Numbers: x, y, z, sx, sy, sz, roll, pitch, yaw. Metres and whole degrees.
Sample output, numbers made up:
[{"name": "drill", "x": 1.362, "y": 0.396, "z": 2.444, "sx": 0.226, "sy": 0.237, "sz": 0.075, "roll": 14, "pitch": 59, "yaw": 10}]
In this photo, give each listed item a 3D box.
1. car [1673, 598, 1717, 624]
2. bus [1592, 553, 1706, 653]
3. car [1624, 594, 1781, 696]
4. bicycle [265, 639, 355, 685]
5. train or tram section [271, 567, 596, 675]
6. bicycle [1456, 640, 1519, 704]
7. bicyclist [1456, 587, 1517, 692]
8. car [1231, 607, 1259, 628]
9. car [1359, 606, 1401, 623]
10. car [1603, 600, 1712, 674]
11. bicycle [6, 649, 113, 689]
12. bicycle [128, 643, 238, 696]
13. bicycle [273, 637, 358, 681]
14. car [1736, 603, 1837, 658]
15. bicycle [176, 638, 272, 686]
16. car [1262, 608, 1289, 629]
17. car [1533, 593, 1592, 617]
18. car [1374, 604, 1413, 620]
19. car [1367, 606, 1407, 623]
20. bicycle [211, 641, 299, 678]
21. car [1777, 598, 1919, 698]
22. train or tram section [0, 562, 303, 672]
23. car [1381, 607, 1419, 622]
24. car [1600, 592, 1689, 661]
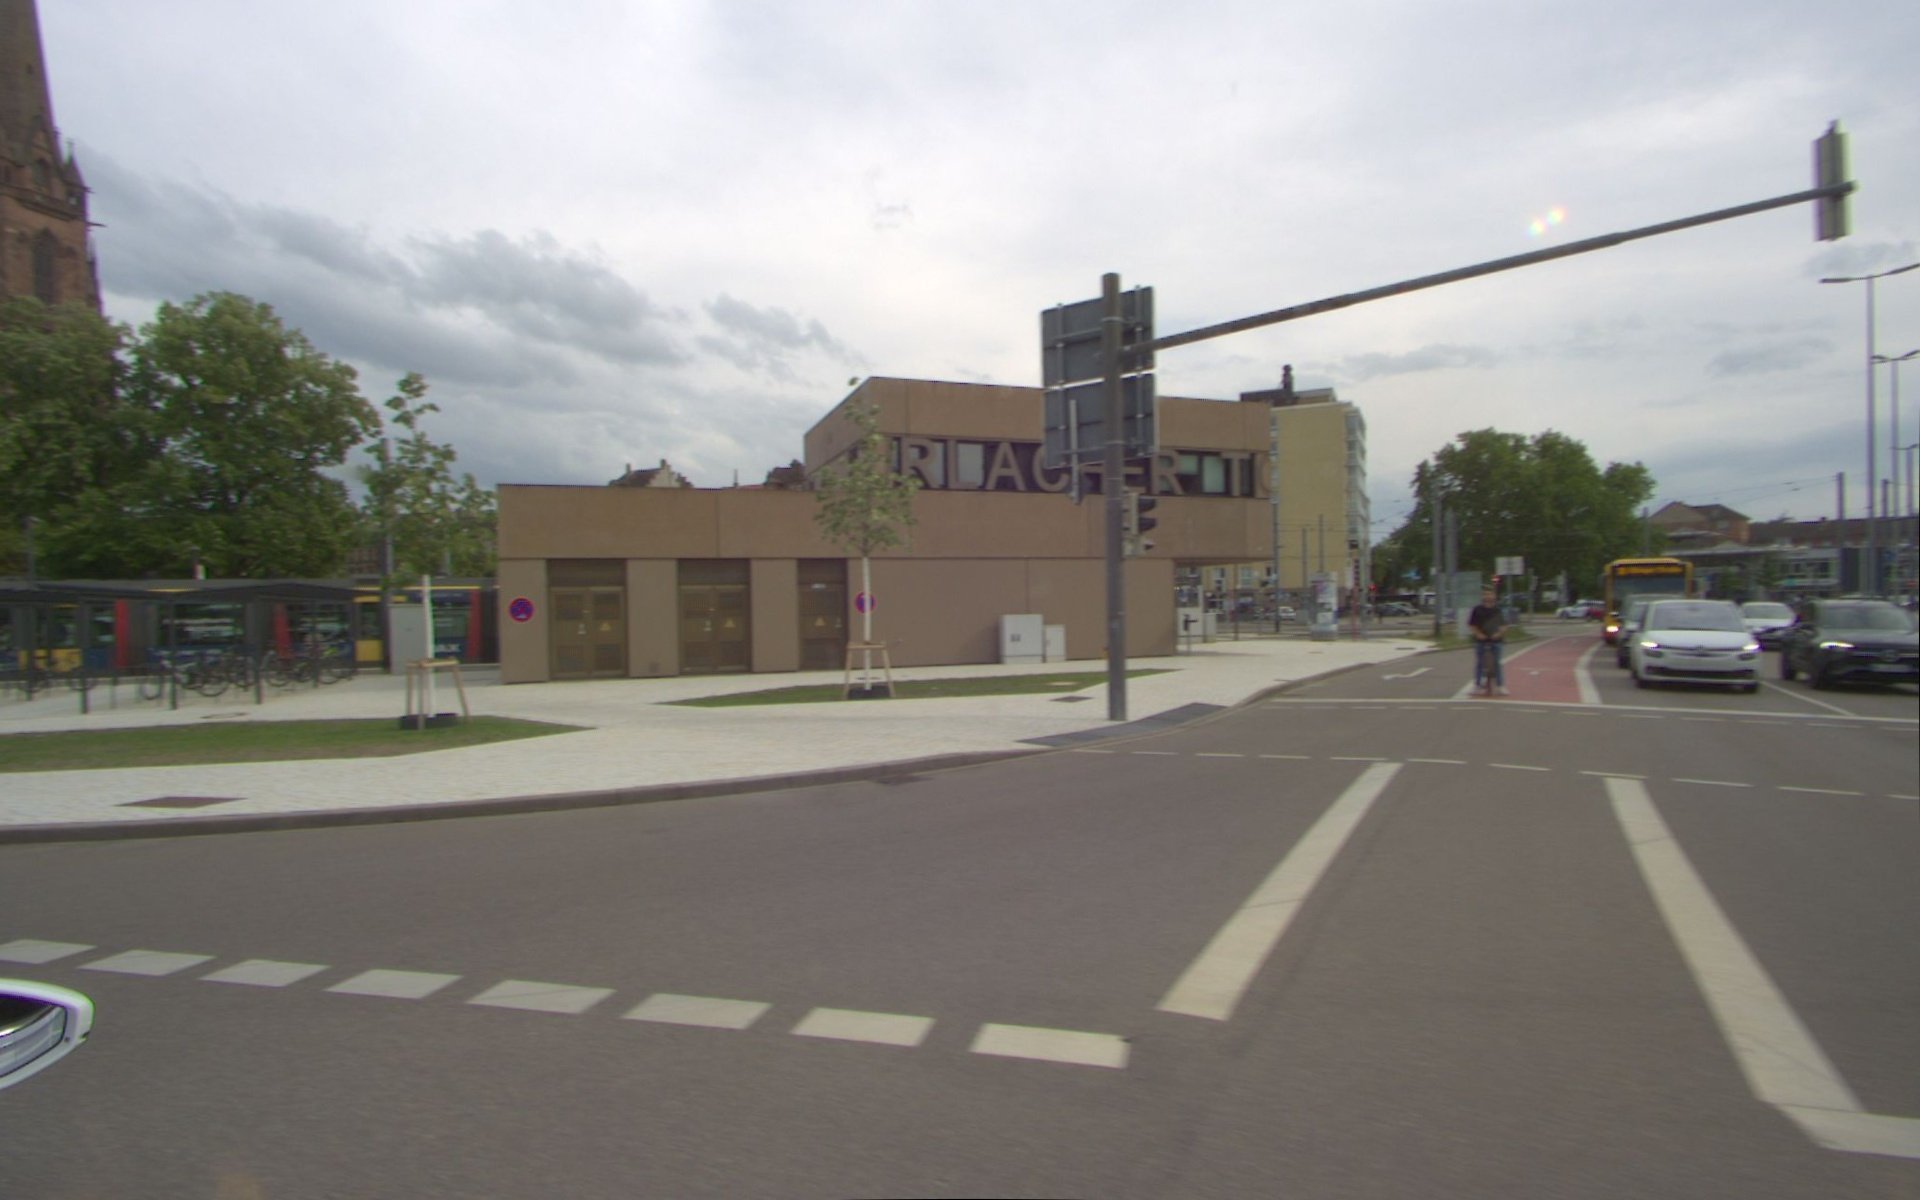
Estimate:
[{"name": "car", "x": 50.236, "y": 0.757, "z": 68.527, "sx": 1.971, "sy": 1.673, "sz": 4.490, "roll": 1, "pitch": 0, "yaw": 31}, {"name": "bus", "x": 26.718, "y": 0.159, "z": 39.284, "sx": 3.113, "sy": 3.298, "sz": 12.347, "roll": 1, "pitch": 0, "yaw": 33}, {"name": "car", "x": 13.897, "y": 0.781, "z": 18.989, "sx": 1.971, "sy": 1.673, "sz": 4.269, "roll": 1, "pitch": 0, "yaw": 31}, {"name": "bicycle", "x": -17.208, "y": 1.632, "z": 26.566, "sx": 1.938, "sy": 1.171, "sz": 0.581, "roll": 1, "pitch": 1, "yaw": -29}, {"name": "train or tram section", "x": -18.081, "y": 0.774, "z": 35.342, "sx": 9.763, "sy": 3.496, "sz": 3.054, "roll": 1, "pitch": 0, "yaw": -21}, {"name": "bicycle", "x": 8.820, "y": 1.168, "z": 16.817, "sx": 0.851, "sy": 0.888, "sz": 2.510, "roll": 1, "pitch": 0, "yaw": 27}, {"name": "bicyclist", "x": 8.828, "y": 0.640, "z": 16.822, "sx": 0.856, "sy": 1.691, "sz": 0.878, "roll": 1, "pitch": 1, "yaw": 27}, {"name": "car", "x": 28.845, "y": 1.753, "z": 101.178, "sx": 1.968, "sy": 2.040, "sz": 3.986, "roll": 1, "pitch": 0, "yaw": 26}, {"name": "car", "x": 44.885, "y": 1.550, "z": 107.064, "sx": 3.940, "sy": 1.706, "sz": 1.598, "roll": 1, "pitch": 0, "yaw": 30}, {"name": "car", "x": 17.542, "y": 0.879, "z": 25.374, "sx": 1.971, "sy": 1.673, "sz": 4.269, "roll": 1, "pitch": 0, "yaw": 31}, {"name": "bicycle", "x": -23.018, "y": 1.743, "z": 25.628, "sx": 1.935, "sy": 0.968, "sz": 0.582, "roll": 1, "pitch": 0, "yaw": -24}, {"name": "bicycle", "x": -18.088, "y": 1.602, "z": 23.354, "sx": 1.938, "sy": 1.171, "sz": 0.581, "roll": 1, "pitch": 1, "yaw": -29}, {"name": "bicycle", "x": -17.884, "y": 1.623, "z": 27.849, "sx": 1.938, "sy": 1.171, "sz": 0.581, "roll": 1, "pitch": 1, "yaw": -29}, {"name": "car", "x": 27.826, "y": 0.992, "z": 33.859, "sx": 1.971, "sy": 1.673, "sz": 4.490, "roll": 1, "pitch": 0, "yaw": 31}, {"name": "bicycle", "x": -19.045, "y": 1.592, "z": 25.964, "sx": 1.938, "sy": 1.171, "sz": 0.581, "roll": 1, "pitch": 1, "yaw": -29}, {"name": "car", "x": 31.469, "y": 1.803, "z": 99.778, "sx": 1.968, "sy": 2.040, "sz": 3.986, "roll": 1, "pitch": 0, "yaw": 26}, {"name": "car", "x": 50.018, "y": 0.423, "z": 83.145, "sx": 3.948, "sy": 1.879, "sz": 1.987, "roll": 1, "pitch": 0, "yaw": 37}, {"name": "car", "x": 49.466, "y": 1.409, "z": 114.221, "sx": 3.940, "sy": 1.706, "sz": 1.598, "roll": 1, "pitch": 0, "yaw": 30}, {"name": "car", "x": 46.985, "y": 1.604, "z": 110.192, "sx": 3.940, "sy": 1.706, "sz": 1.598, "roll": 1, "pitch": 0, "yaw": 30}, {"name": "bicycle", "x": -19.911, "y": 1.677, "z": 28.318, "sx": 1.935, "sy": 0.983, "sz": 0.582, "roll": 1, "pitch": 0, "yaw": -24}, {"name": "car", "x": 17.115, "y": 0.847, "z": 18.908, "sx": 1.971, "sy": 1.673, "sz": 4.490, "roll": 1, "pitch": 0, "yaw": 31}, {"name": "train or tram section", "x": -26.835, "y": 0.547, "z": 31.967, "sx": 9.272, "sy": 3.255, "sz": 3.054, "roll": 1, "pitch": 0, "yaw": -21}, {"name": "car", "x": 52.737, "y": 1.759, "z": 120.061, "sx": 3.940, "sy": 1.706, "sz": 1.598, "roll": 1, "pitch": 0, "yaw": 30}, {"name": "car", "x": 20.889, "y": 0.774, "z": 30.718, "sx": 1.971, "sy": 1.924, "sz": 4.269, "roll": 1, "pitch": 0, "yaw": 31}]
